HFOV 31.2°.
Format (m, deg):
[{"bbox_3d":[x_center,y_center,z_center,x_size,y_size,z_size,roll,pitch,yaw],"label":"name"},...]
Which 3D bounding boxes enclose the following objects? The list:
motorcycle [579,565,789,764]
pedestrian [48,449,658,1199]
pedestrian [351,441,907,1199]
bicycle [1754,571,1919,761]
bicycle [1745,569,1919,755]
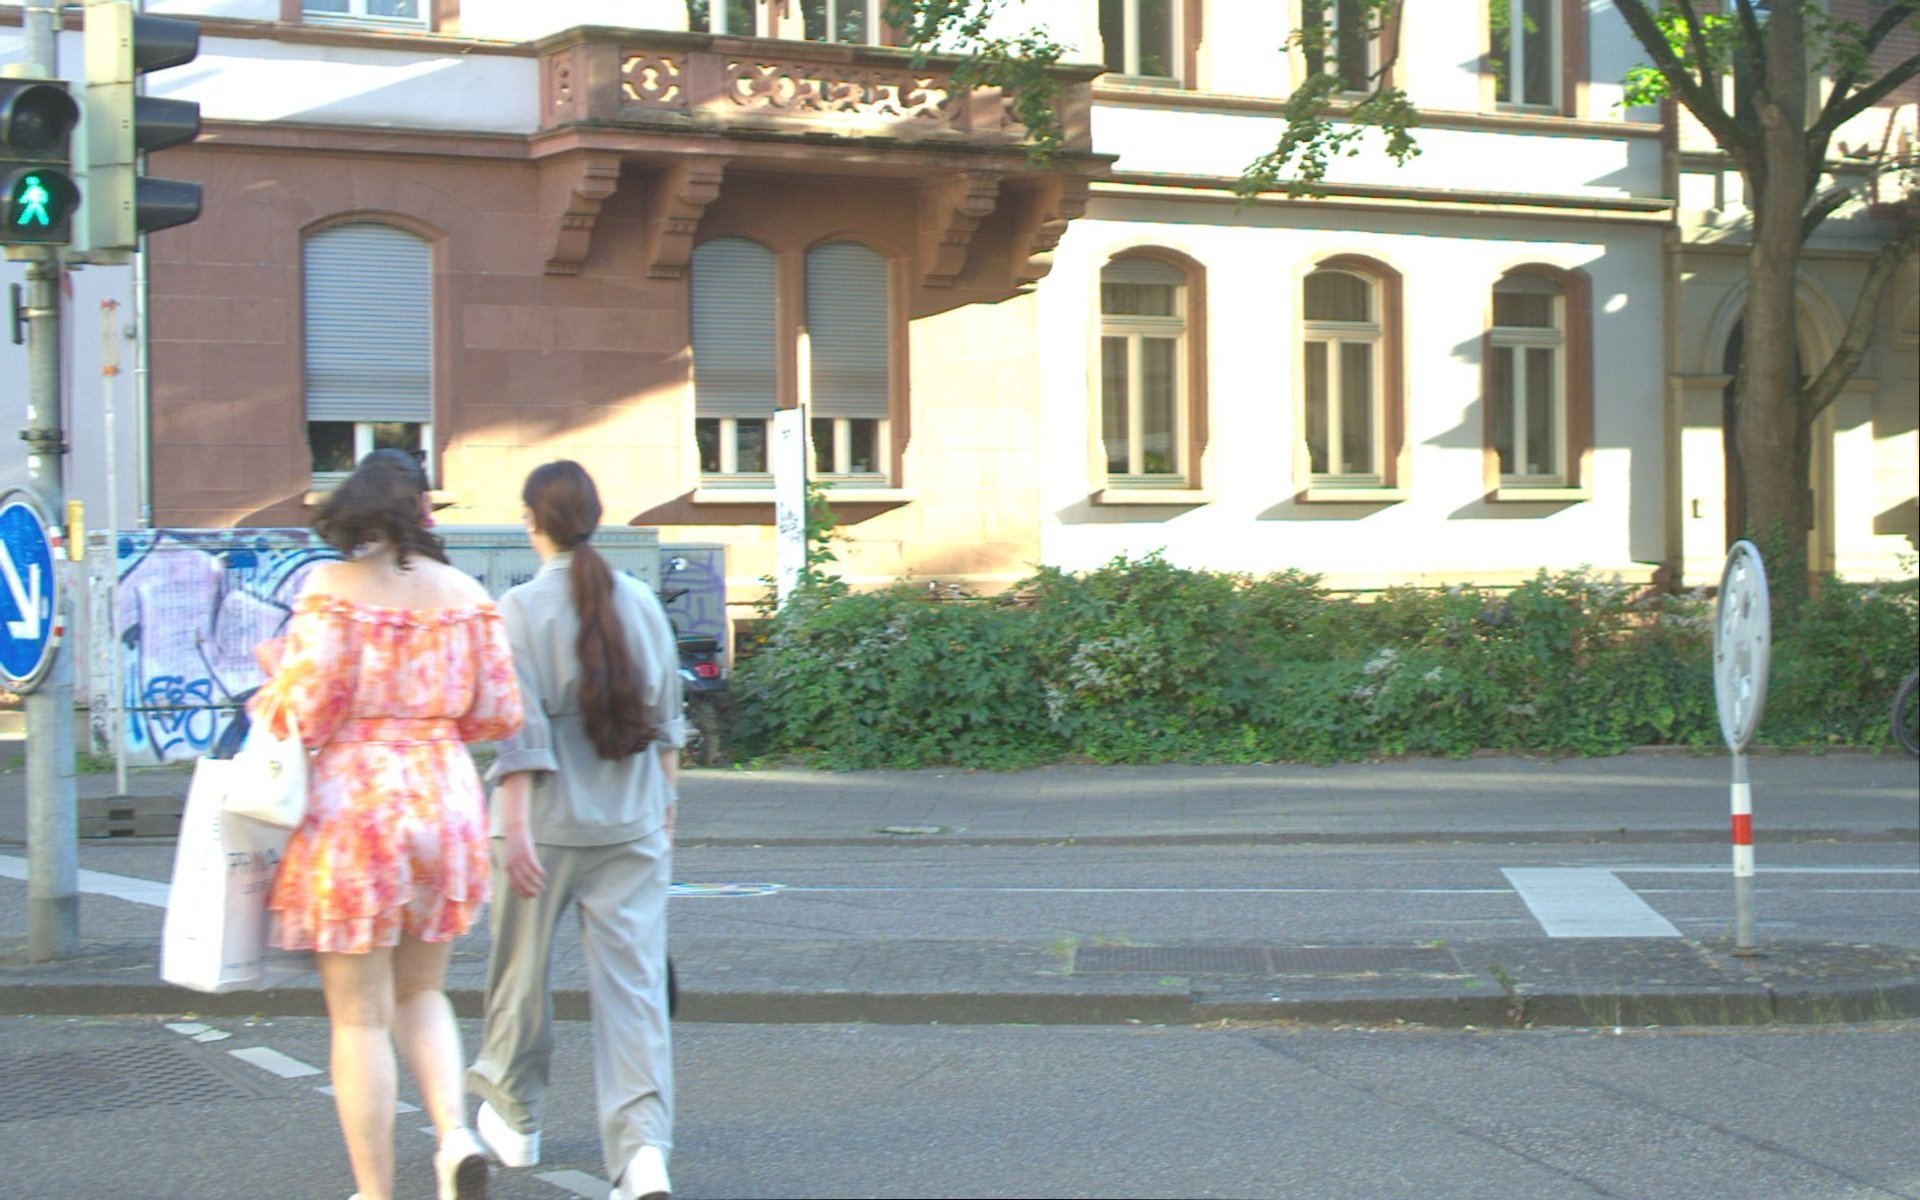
[{"bbox_3d":[-1.894,0.405,23.289,0.840,1.261,2.111,-1,1,-21],"label":"motorcycle"},{"bbox_3d":[-1.289,0.544,7.273,0.867,1.692,0.984,-1,1,-42],"label":"pedestrian"},{"bbox_3d":[-0.781,0.492,8.059,0.867,1.692,0.984,-1,1,-42],"label":"pedestrian"},{"bbox_3d":[6.590,0.410,21.879,2.950,1.192,0.547,0,1,8],"label":"bicycle"},{"bbox_3d":[6.666,0.396,22.469,2.950,1.192,0.547,0,1,8],"label":"bicycle"}]
